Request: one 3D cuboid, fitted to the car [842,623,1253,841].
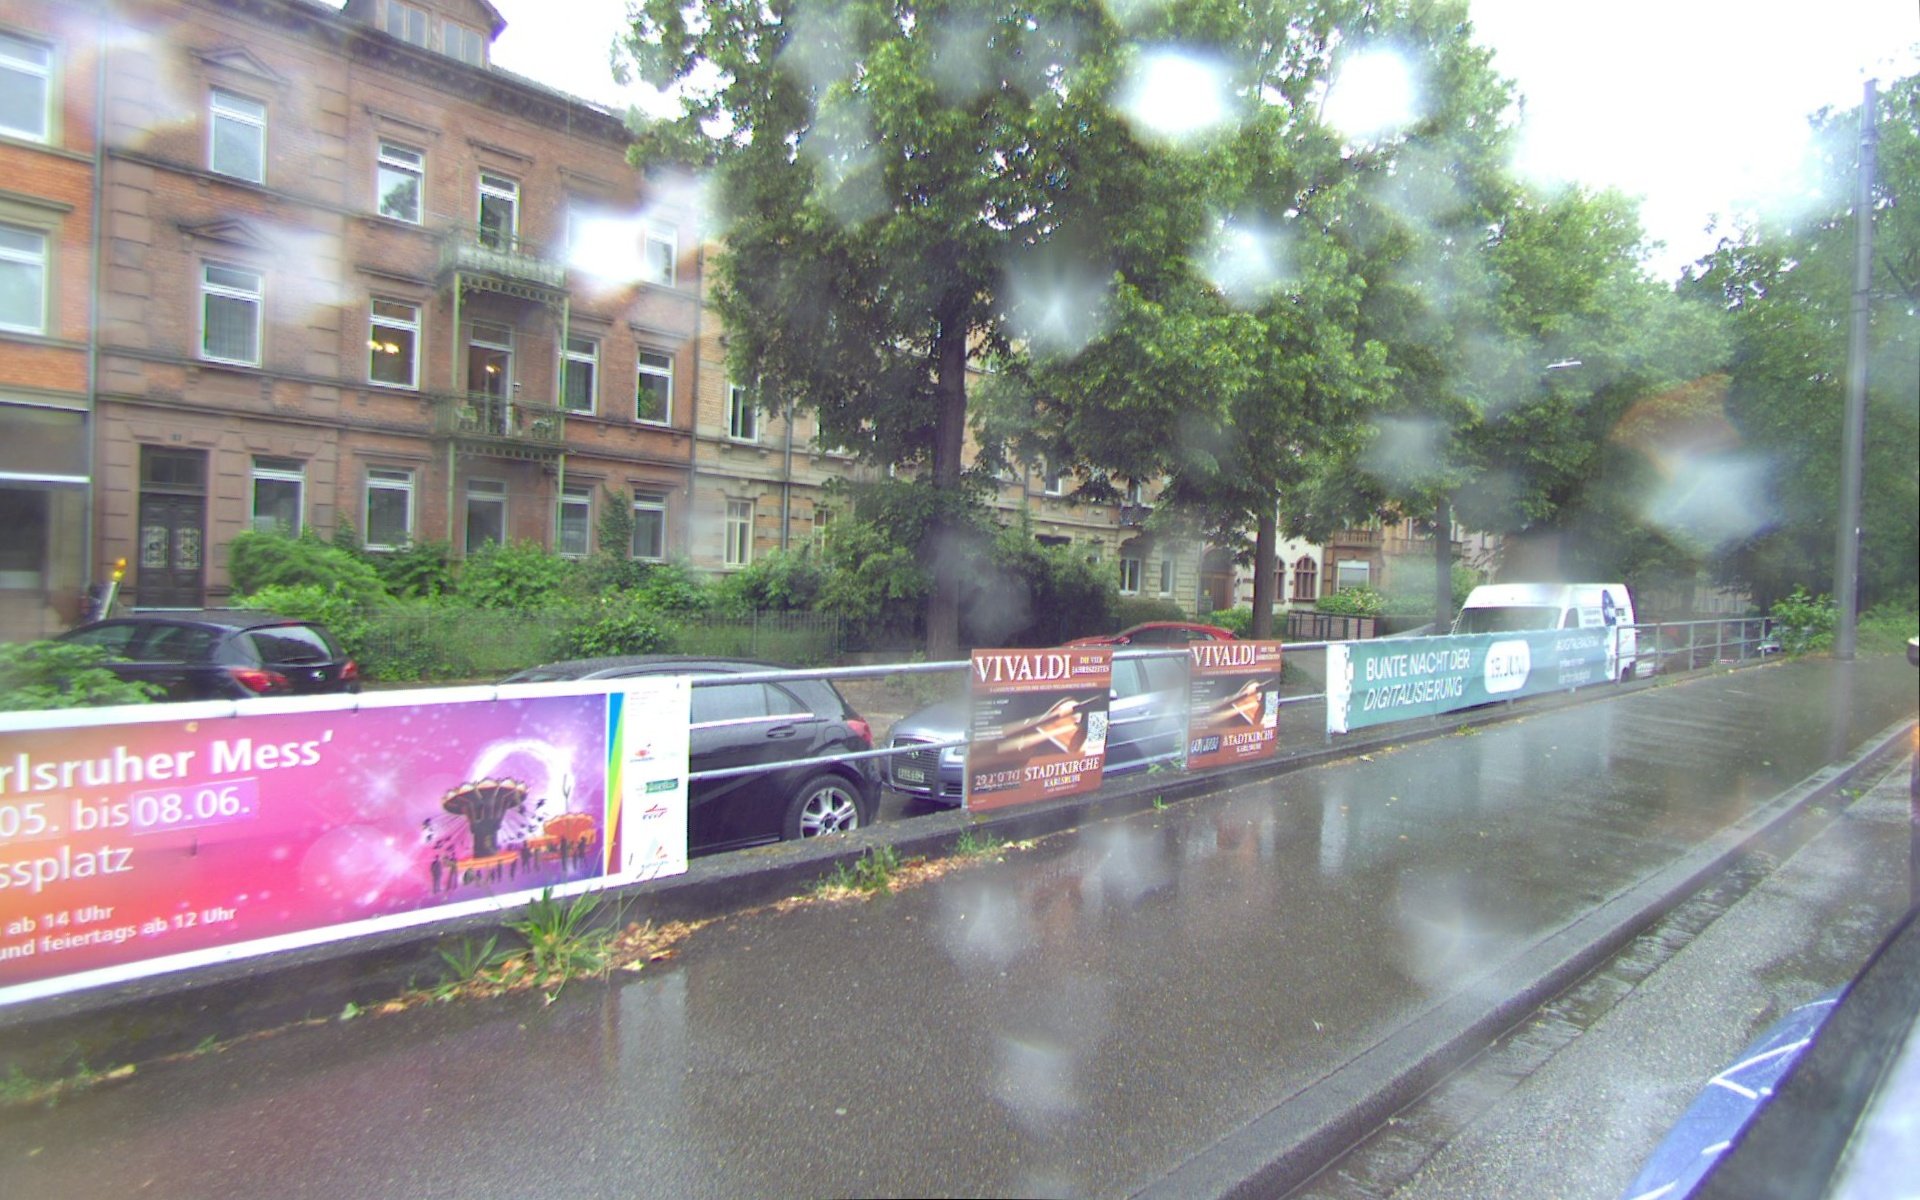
[{"bbox_3d":[0.991,1.060,9.777,4.006,1.559,1.734,0,0,-43],"label":"car"}]

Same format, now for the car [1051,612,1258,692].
[{"bbox_3d":[4.385,1.108,22.731,4.372,1.471,1.888,2,1,18],"label":"car"}]

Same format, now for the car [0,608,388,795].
[{"bbox_3d":[-8.630,0.987,10.830,3.925,1.735,1.999,0,0,2],"label":"car"}]

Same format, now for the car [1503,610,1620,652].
[{"bbox_3d":[25.584,1.289,43.174,3.947,1.629,1.815,1,1,19],"label":"car"}]

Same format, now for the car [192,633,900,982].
[{"bbox_3d":[-2.449,1.003,6.522,3.903,1.417,1.706,0,1,-41],"label":"car"}]

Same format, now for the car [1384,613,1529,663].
[{"bbox_3d":[16.504,1.237,33.892,4.214,1.397,1.679,2,2,22],"label":"car"}]

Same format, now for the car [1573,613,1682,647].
[{"bbox_3d":[32.064,1.427,48.732,3.942,1.482,1.904,0,1,15],"label":"car"}]

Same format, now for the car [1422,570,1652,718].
[{"bbox_3d":[11.358,0.711,19.667,6.055,2.451,2.211,0,0,-43],"label":"car"}]

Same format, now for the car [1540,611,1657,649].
[{"bbox_3d":[28.493,1.310,45.295,3.942,1.585,1.991,0,1,15],"label":"car"}]

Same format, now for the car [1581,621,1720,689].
[{"bbox_3d":[16.659,1.244,24.346,4.312,1.370,1.968,0,0,-44],"label":"car"}]
